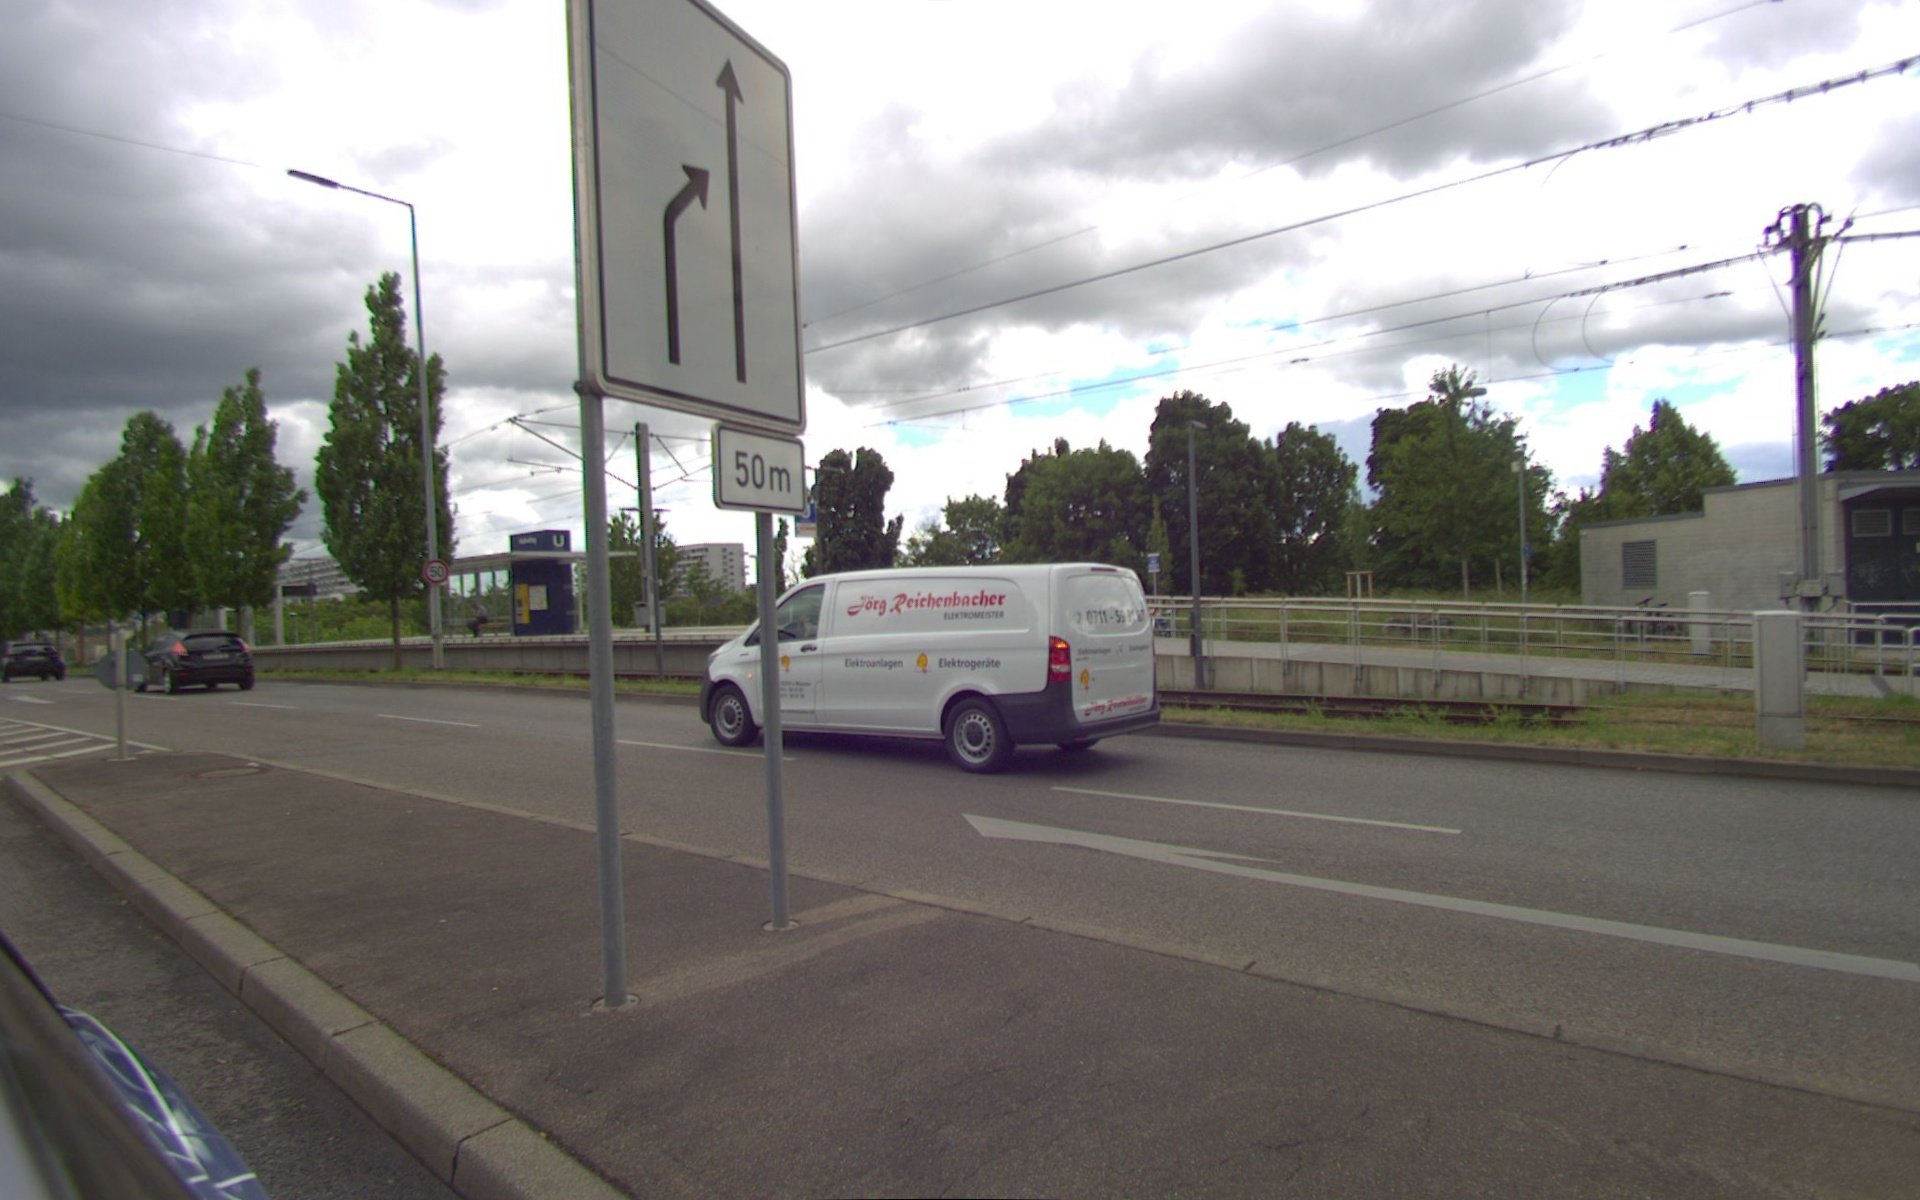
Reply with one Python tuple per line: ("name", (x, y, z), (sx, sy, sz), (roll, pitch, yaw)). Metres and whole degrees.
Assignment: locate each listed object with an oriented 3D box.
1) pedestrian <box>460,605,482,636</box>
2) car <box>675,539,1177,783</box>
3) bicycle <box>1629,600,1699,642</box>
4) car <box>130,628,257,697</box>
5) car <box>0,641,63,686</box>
("pedestrian", (-18.283, 0.759, 37.817), (0.447, 1.163, 0.593), (-1, 0, 41))
("car", (-0.595, 0.511, 10.651), (5.368, 1.979, 1.896), (-1, 0, 39))
("bicycle", (18.131, 0.513, 26.108), (0.529, 1.039, 1.813), (-1, 0, 1))
("car", (-18.253, 1.429, 24.052), (3.658, 1.460, 1.678), (-2, -1, 41))
("car", (-34.215, 2.289, 36.792), (3.928, 1.460, 1.680), (-3, -1, 37))
